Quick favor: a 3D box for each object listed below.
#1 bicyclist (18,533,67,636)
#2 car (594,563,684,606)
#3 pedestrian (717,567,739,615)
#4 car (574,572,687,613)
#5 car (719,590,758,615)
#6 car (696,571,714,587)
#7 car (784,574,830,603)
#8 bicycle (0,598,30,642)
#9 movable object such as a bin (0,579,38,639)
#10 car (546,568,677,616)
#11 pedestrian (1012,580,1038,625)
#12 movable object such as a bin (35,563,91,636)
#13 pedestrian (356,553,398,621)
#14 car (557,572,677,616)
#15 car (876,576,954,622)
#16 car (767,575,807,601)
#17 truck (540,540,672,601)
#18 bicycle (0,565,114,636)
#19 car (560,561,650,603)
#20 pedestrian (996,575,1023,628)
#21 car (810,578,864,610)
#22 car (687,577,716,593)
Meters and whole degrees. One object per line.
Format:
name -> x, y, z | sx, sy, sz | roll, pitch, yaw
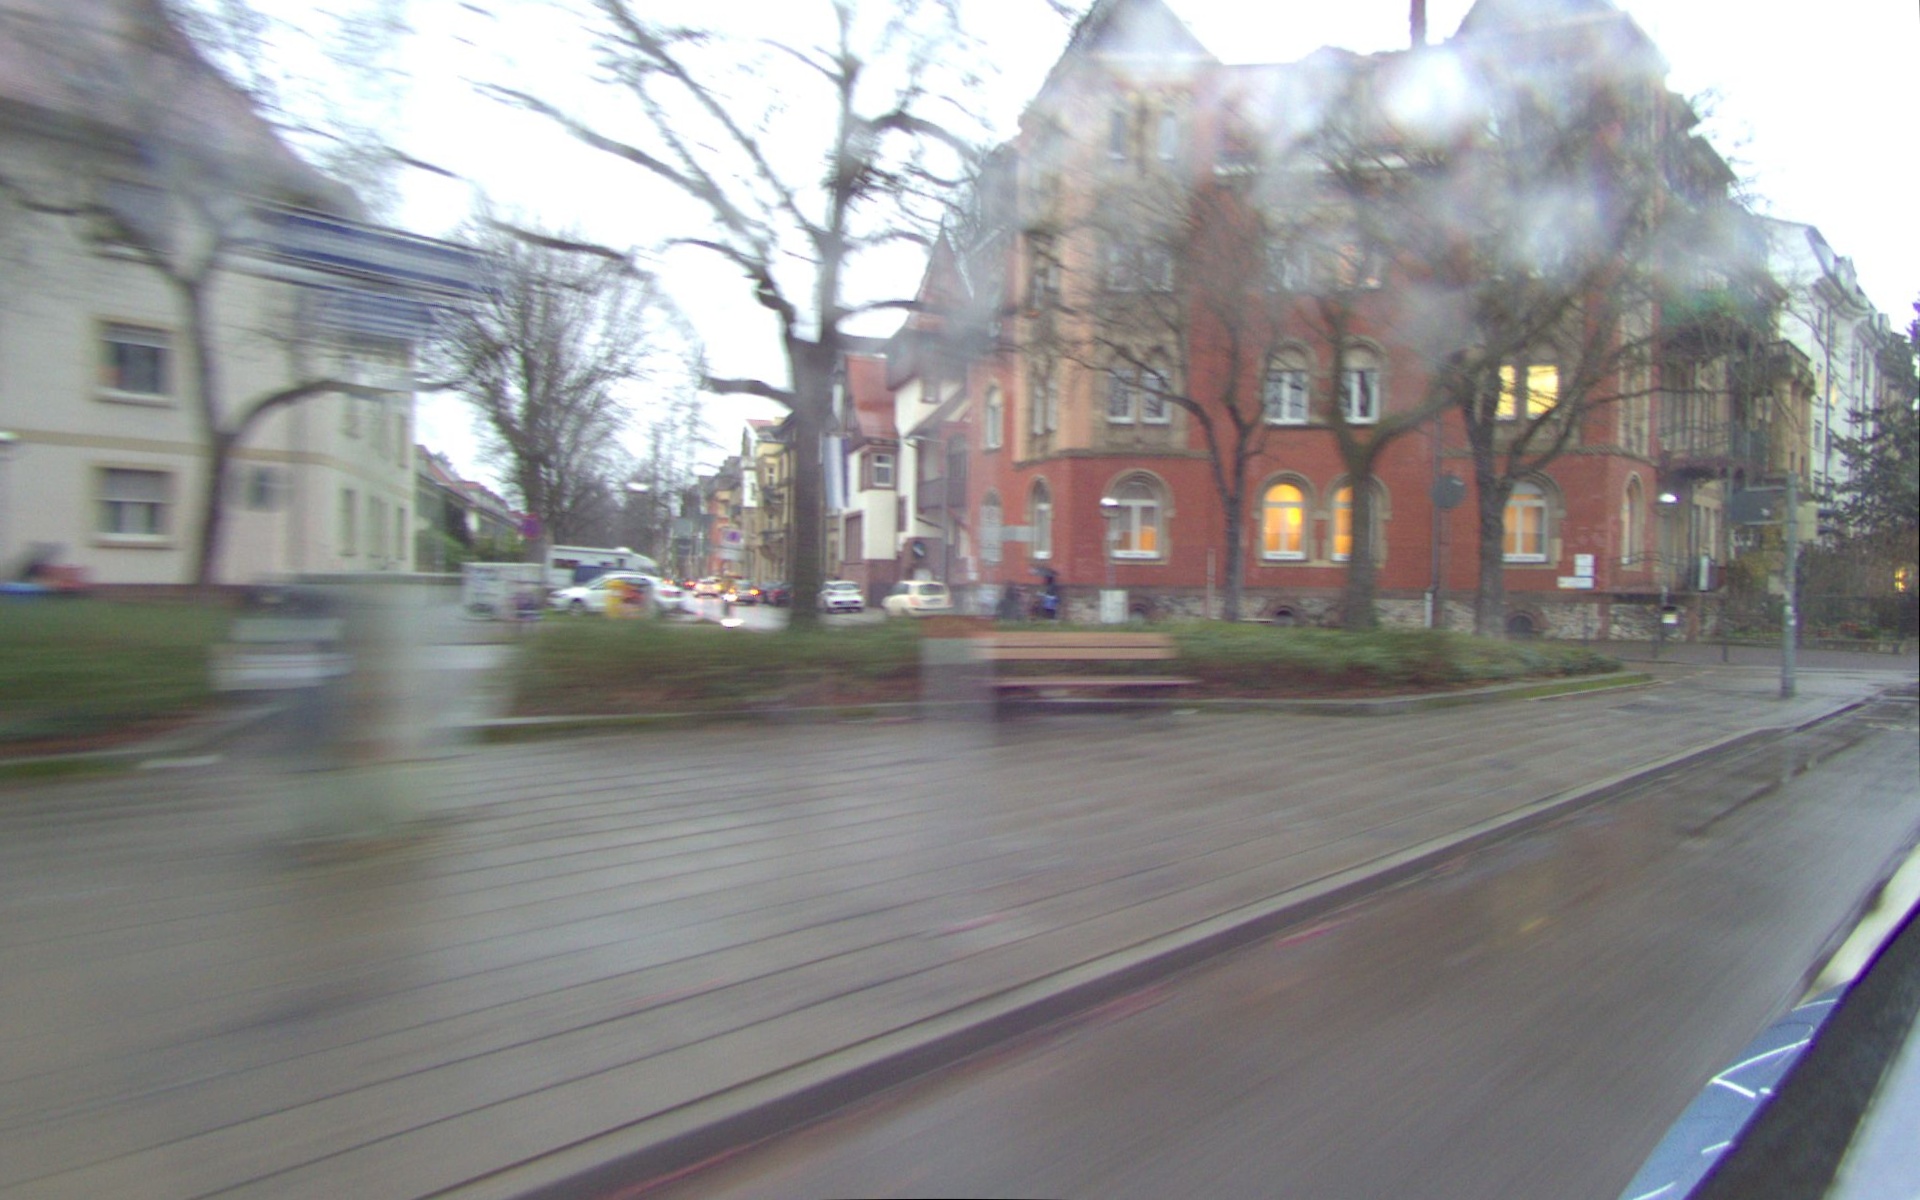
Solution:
bicyclist -> -17.400, -0.295, 19.197 | 0.667, 1.910, 0.467 | 0, 1, -41
car -> -15.173, -0.719, 48.080 | 3.916, 1.958, 1.855 | 1, 1, -12
pedestrian -> -9.258, -0.382, 40.358 | 0.797, 1.887, 0.880 | 1, 1, -13
car -> -12.526, -0.284, 38.667 | 3.916, 1.494, 1.855 | 1, 1, -12
car -> -13.954, 0.169, 63.631 | 1.930, 1.498, 4.007 | 0, -1, -19
car -> -26.920, -2.210, 106.849 | 1.541, 1.590, 4.009 | 1, 1, -18
car -> -8.557, -0.640, 56.433 | 1.689, 1.526, 4.009 | 1, 1, -21
bicycle -> -17.507, 0.361, 17.902 | 1.563, 0.775, 0.339 | 0, 1, -44
movable object such as a bin -> -16.023, 0.139, 17.059 | 0.525, 0.993, 0.642 | 1, 1, 37
car -> -11.548, -0.279, 33.766 | 3.916, 1.504, 1.855 | 1, 1, -12
pedestrian -> 1.942, 0.075, 30.287 | 0.596, 1.333, 0.548 | 1, -1, -19
movable object such as a bin -> -15.611, -0.012, 17.618 | 0.525, 1.243, 0.642 | 1, 1, 37
pedestrian -> -14.726, -0.339, 25.585 | 0.744, 1.663, 1.125 | 0, 1, -22
car -> -12.233, -0.231, 36.334 | 3.916, 1.494, 1.855 | 1, 1, -12
car -> -1.666, -0.083, 36.009 | 1.613, 1.514, 4.009 | 1, 1, -21
car -> -10.644, -0.769, 62.182 | 1.689, 1.517, 4.009 | 1, 1, -21
truck -> -19.243, -1.585, 55.092 | 6.592, 3.130, 2.639 | 0, 1, -22
bicycle -> -17.347, 0.006, 19.270 | 1.881, 1.307, 0.467 | 0, 1, -41
car -> -18.361, -0.934, 52.290 | 4.237, 2.038, 2.004 | 0, 1, -23
pedestrian -> 1.443, 0.035, 29.766 | 0.630, 1.546, 0.548 | 1, -1, -19
car -> -5.925, -0.299, 48.352 | 1.613, 1.415, 4.009 | 1, 1, -21
car -> -20.587, -1.202, 80.500 | 1.732, 1.228, 3.853 | 0, 2, -21
